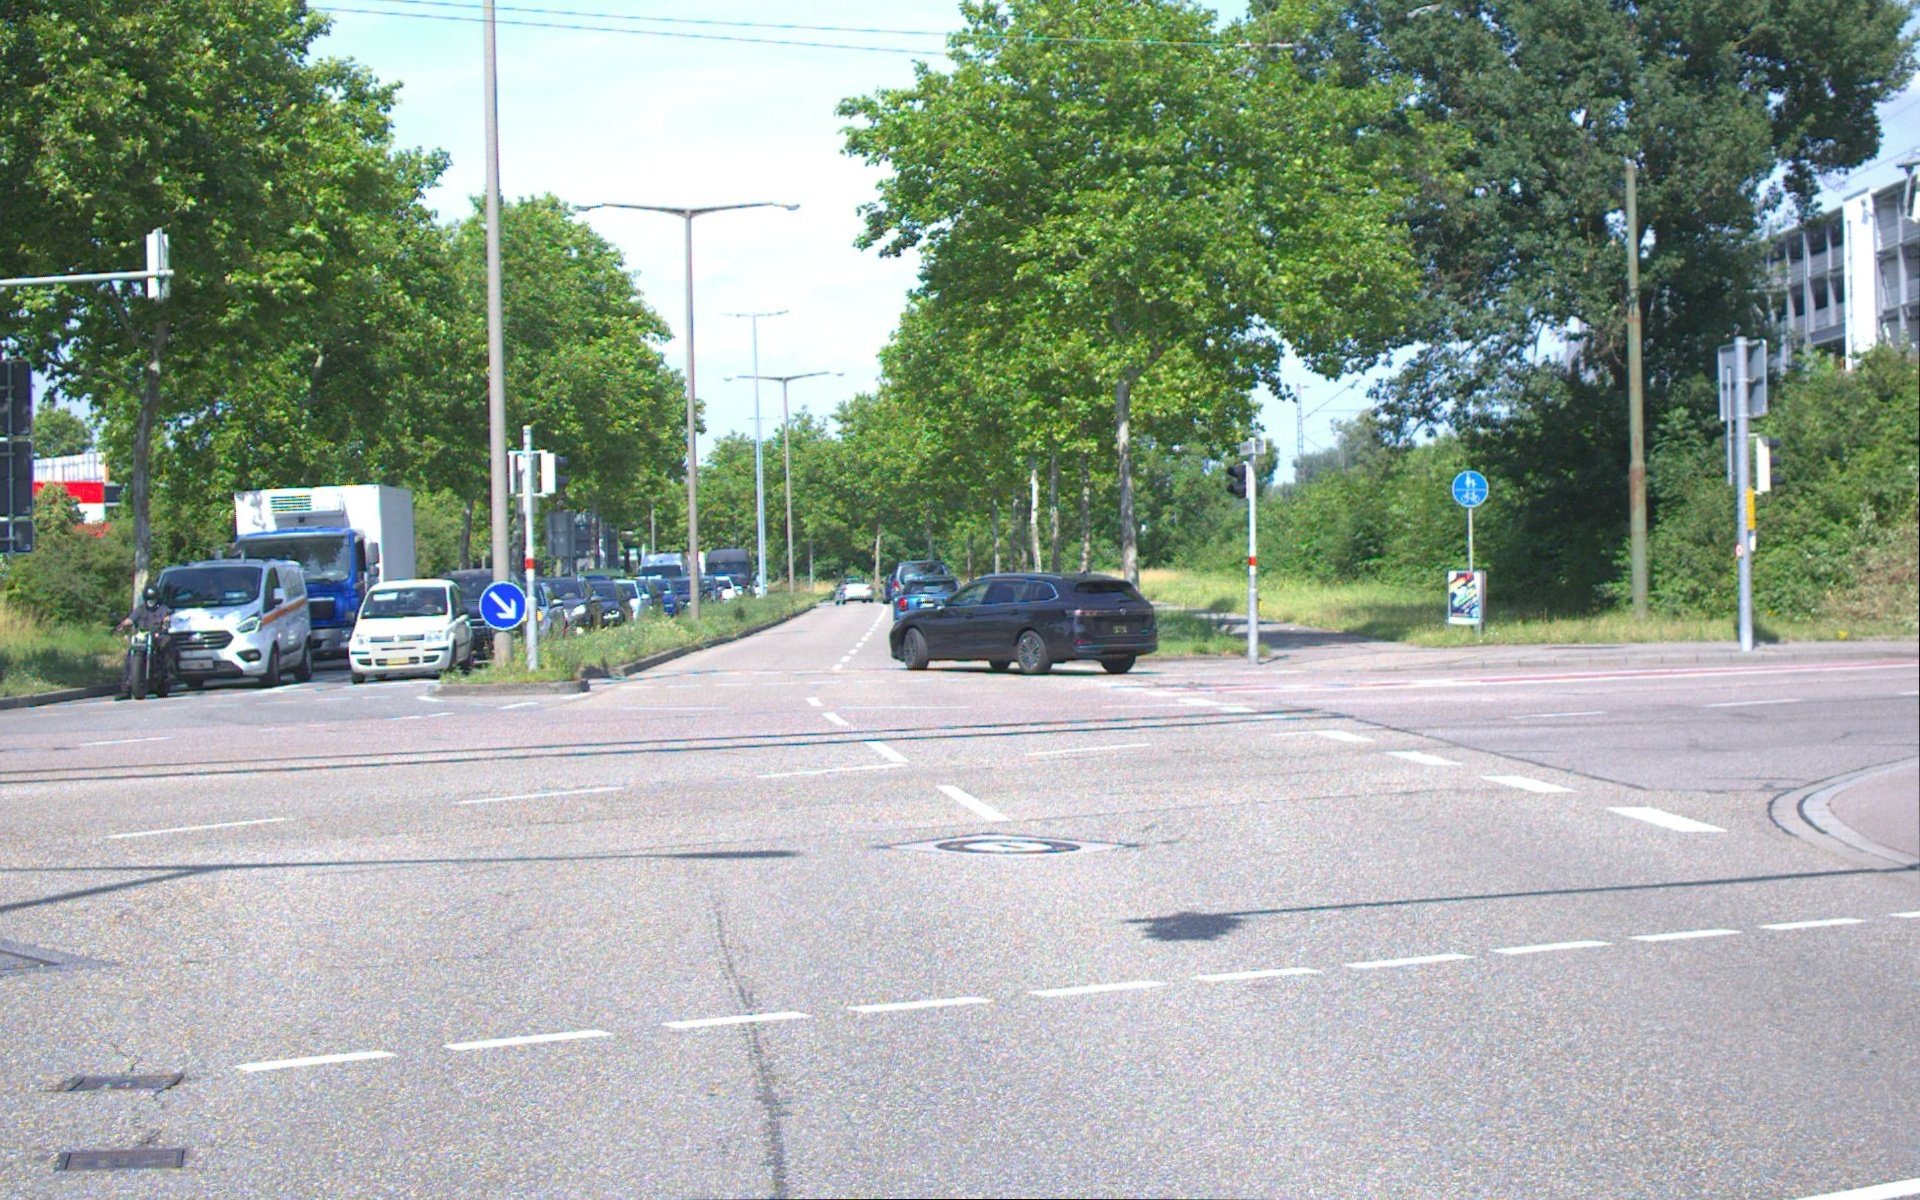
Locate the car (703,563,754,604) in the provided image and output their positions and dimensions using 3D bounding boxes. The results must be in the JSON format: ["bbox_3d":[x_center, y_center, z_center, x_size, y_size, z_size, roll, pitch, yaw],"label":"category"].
[{"bbox_3d":[-8.863,-0.644,131.924,1.689,1.505,3.815,-2,1,-1],"label":"car"}]

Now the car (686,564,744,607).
[{"bbox_3d":[-8.896,-0.538,125.187,1.783,1.454,4.472,-2,1,-1],"label":"car"}]

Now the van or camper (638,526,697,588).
[{"bbox_3d":[-12.556,-1.858,147.867,2.015,2.579,5.517,-2,1,-1],"label":"van or camper"}]

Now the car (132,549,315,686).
[{"bbox_3d":[-11.338,0.217,53.241,1.976,1.992,5.032,-1,1,-3],"label":"car"}]

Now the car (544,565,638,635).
[{"bbox_3d":[-8.474,-0.021,79.227,1.689,1.468,4.218,-3,1,-1],"label":"car"}]

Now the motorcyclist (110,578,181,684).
[{"bbox_3d":[-11.420,0.427,48.240,0.743,1.465,0.987,-1,1,-1],"label":"motorcyclist"}]

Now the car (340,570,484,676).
[{"bbox_3d":[-8.326,0.323,52.500,1.593,1.472,3.729,-2,1,-1],"label":"car"}]

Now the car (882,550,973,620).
[{"bbox_3d":[-0.734,-0.360,77.908,1.993,1.514,4.000,-1,1,-1],"label":"car"}]

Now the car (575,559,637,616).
[{"bbox_3d":[-12.219,-0.434,118.897,1.689,1.852,4.036,-2,0,-1],"label":"car"}]

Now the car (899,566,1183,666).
[{"bbox_3d":[1.155,0.214,50.877,1.835,1.386,4.263,-1,1,-40],"label":"car"}]

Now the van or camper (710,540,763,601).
[{"bbox_3d":[-9.126,-1.189,140.701,1.938,2.360,5.398,-2,0,-2],"label":"van or camper"}]

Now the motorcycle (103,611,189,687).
[{"bbox_3d":[-11.383,0.672,48.149,0.688,0.988,2.217,-1,1,-1],"label":"motorcycle"}]

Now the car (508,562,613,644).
[{"bbox_3d":[-8.335,0.036,71.953,1.689,1.581,4.240,-2,1,-1],"label":"car"}]

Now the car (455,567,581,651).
[{"bbox_3d":[-8.367,0.148,65.377,1.796,1.463,4.523,-2,1,0],"label":"car"}]

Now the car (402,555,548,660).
[{"bbox_3d":[-8.193,0.135,58.439,1.820,1.641,4.694,-2,0,-1],"label":"car"}]

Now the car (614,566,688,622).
[{"bbox_3d":[-8.747,-0.181,97.559,1.784,1.484,4.212,-2,1,-2],"label":"car"}]

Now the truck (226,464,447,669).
[{"bbox_3d":[-11.417,-0.657,63.554,2.804,3.459,6.692,-3,1,-1],"label":"truck"}]

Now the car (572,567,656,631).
[{"bbox_3d":[-8.520,-0.052,84.864,1.689,1.467,3.815,-2,1,-1],"label":"car"}]
